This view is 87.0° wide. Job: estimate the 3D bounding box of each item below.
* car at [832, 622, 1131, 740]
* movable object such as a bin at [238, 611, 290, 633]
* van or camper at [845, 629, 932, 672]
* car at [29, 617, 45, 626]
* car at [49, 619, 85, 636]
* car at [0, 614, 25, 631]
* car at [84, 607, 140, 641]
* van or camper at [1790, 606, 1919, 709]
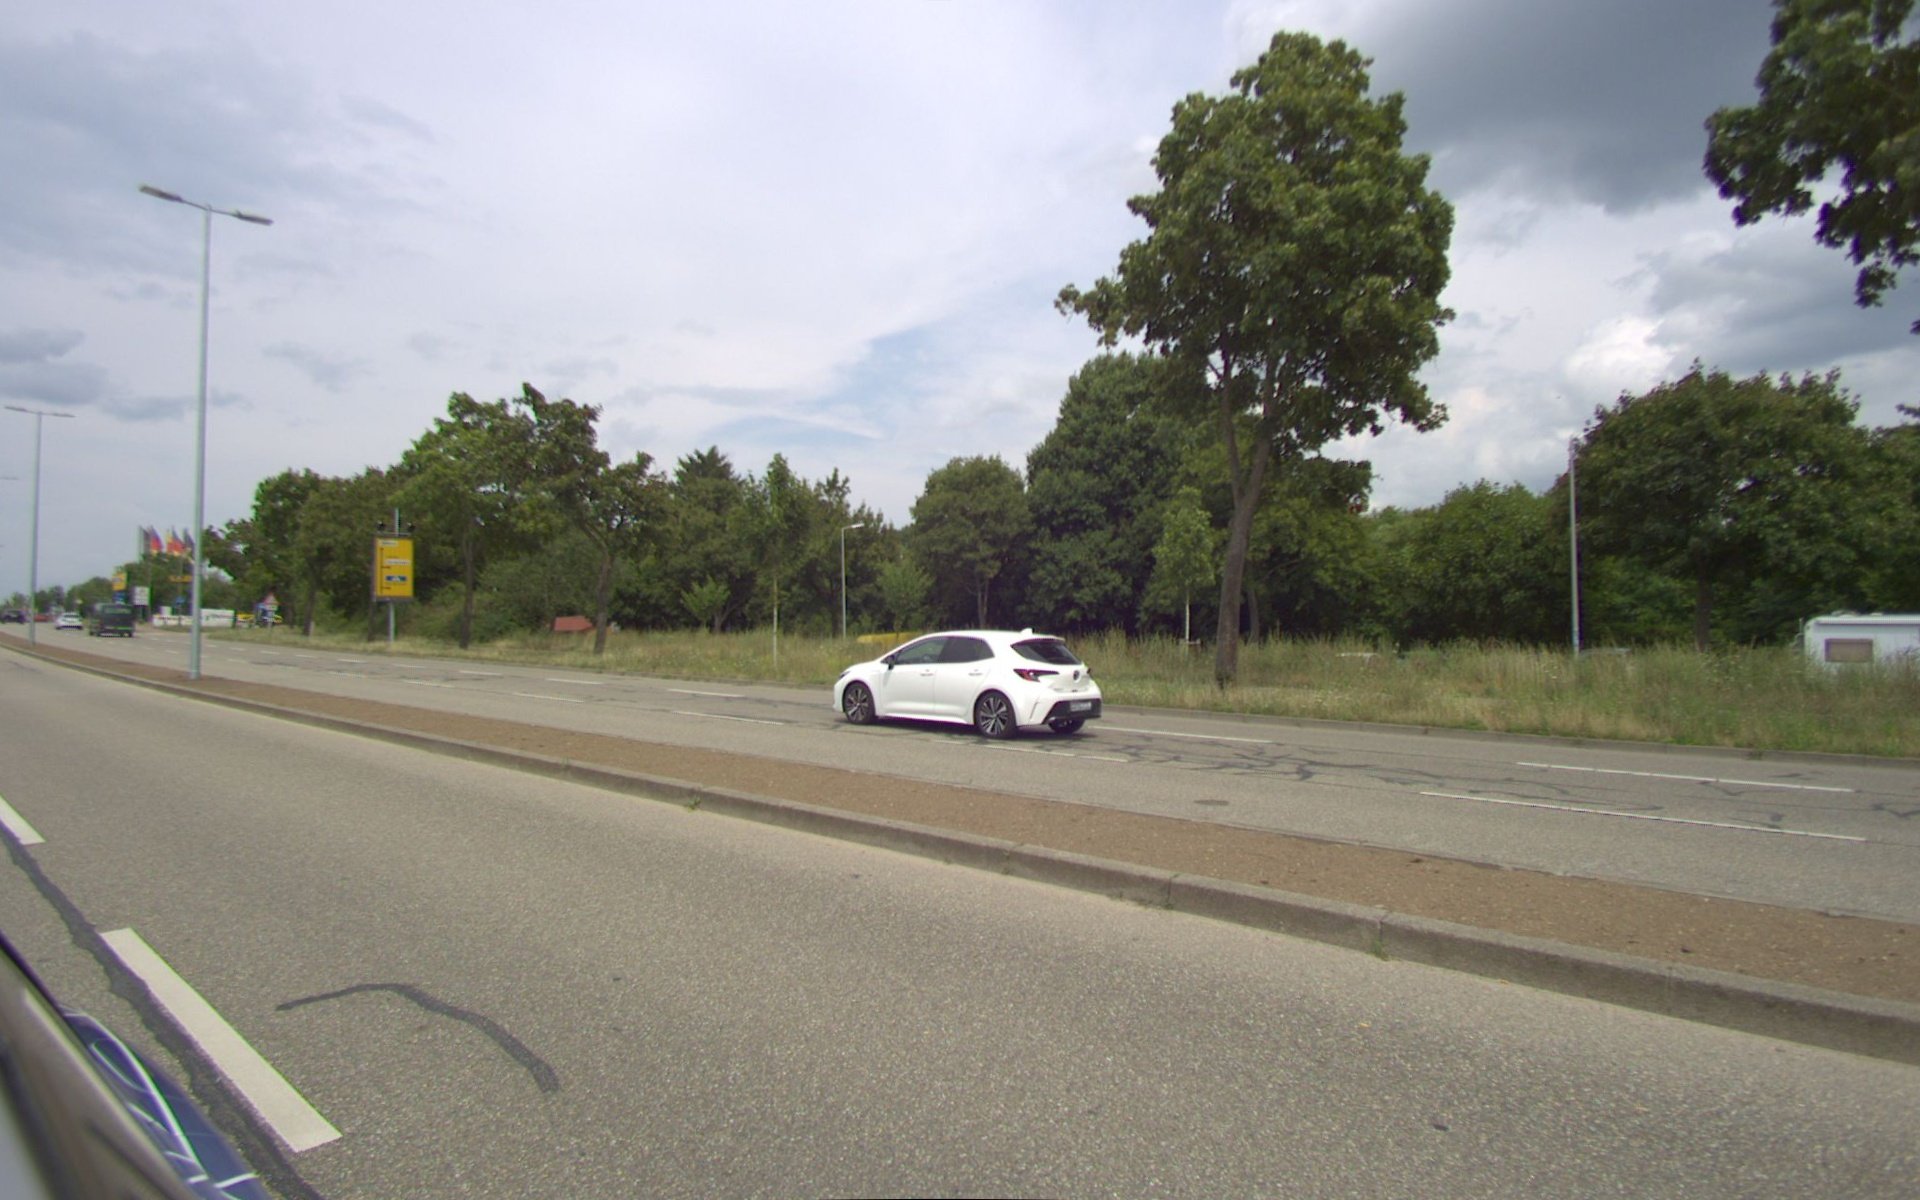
[{"bbox_3d":[0.199,1.062,14.430,4.159,1.431,1.698,-1,-3,42],"label":"car"},{"bbox_3d":[-80.193,2.524,116.587,1.994,2.415,4.541,-2,-2,33],"label":"movable object such as a bin"},{"bbox_3d":[-3.858,2.700,55.020,4.298,2.029,2.004,-1,0,-39],"label":"van or camper"},{"bbox_3d":[-154.223,3.603,169.087,1.734,1.332,4.349,1,-3,-44],"label":"car"},{"bbox_3d":[-79.110,2.422,89.595,4.689,1.442,1.971,-2,-3,44],"label":"car"},{"bbox_3d":[-111.794,2.670,119.227,4.796,1.825,1.972,-3,-4,42],"label":"car"},{"bbox_3d":[-59.251,1.712,70.668,6.001,2.218,2.073,-2,-3,42],"label":"car"},{"bbox_3d":[25.240,1.411,25.369,6.718,2.560,2.445,-3,-3,42],"label":"van or camper"}]
